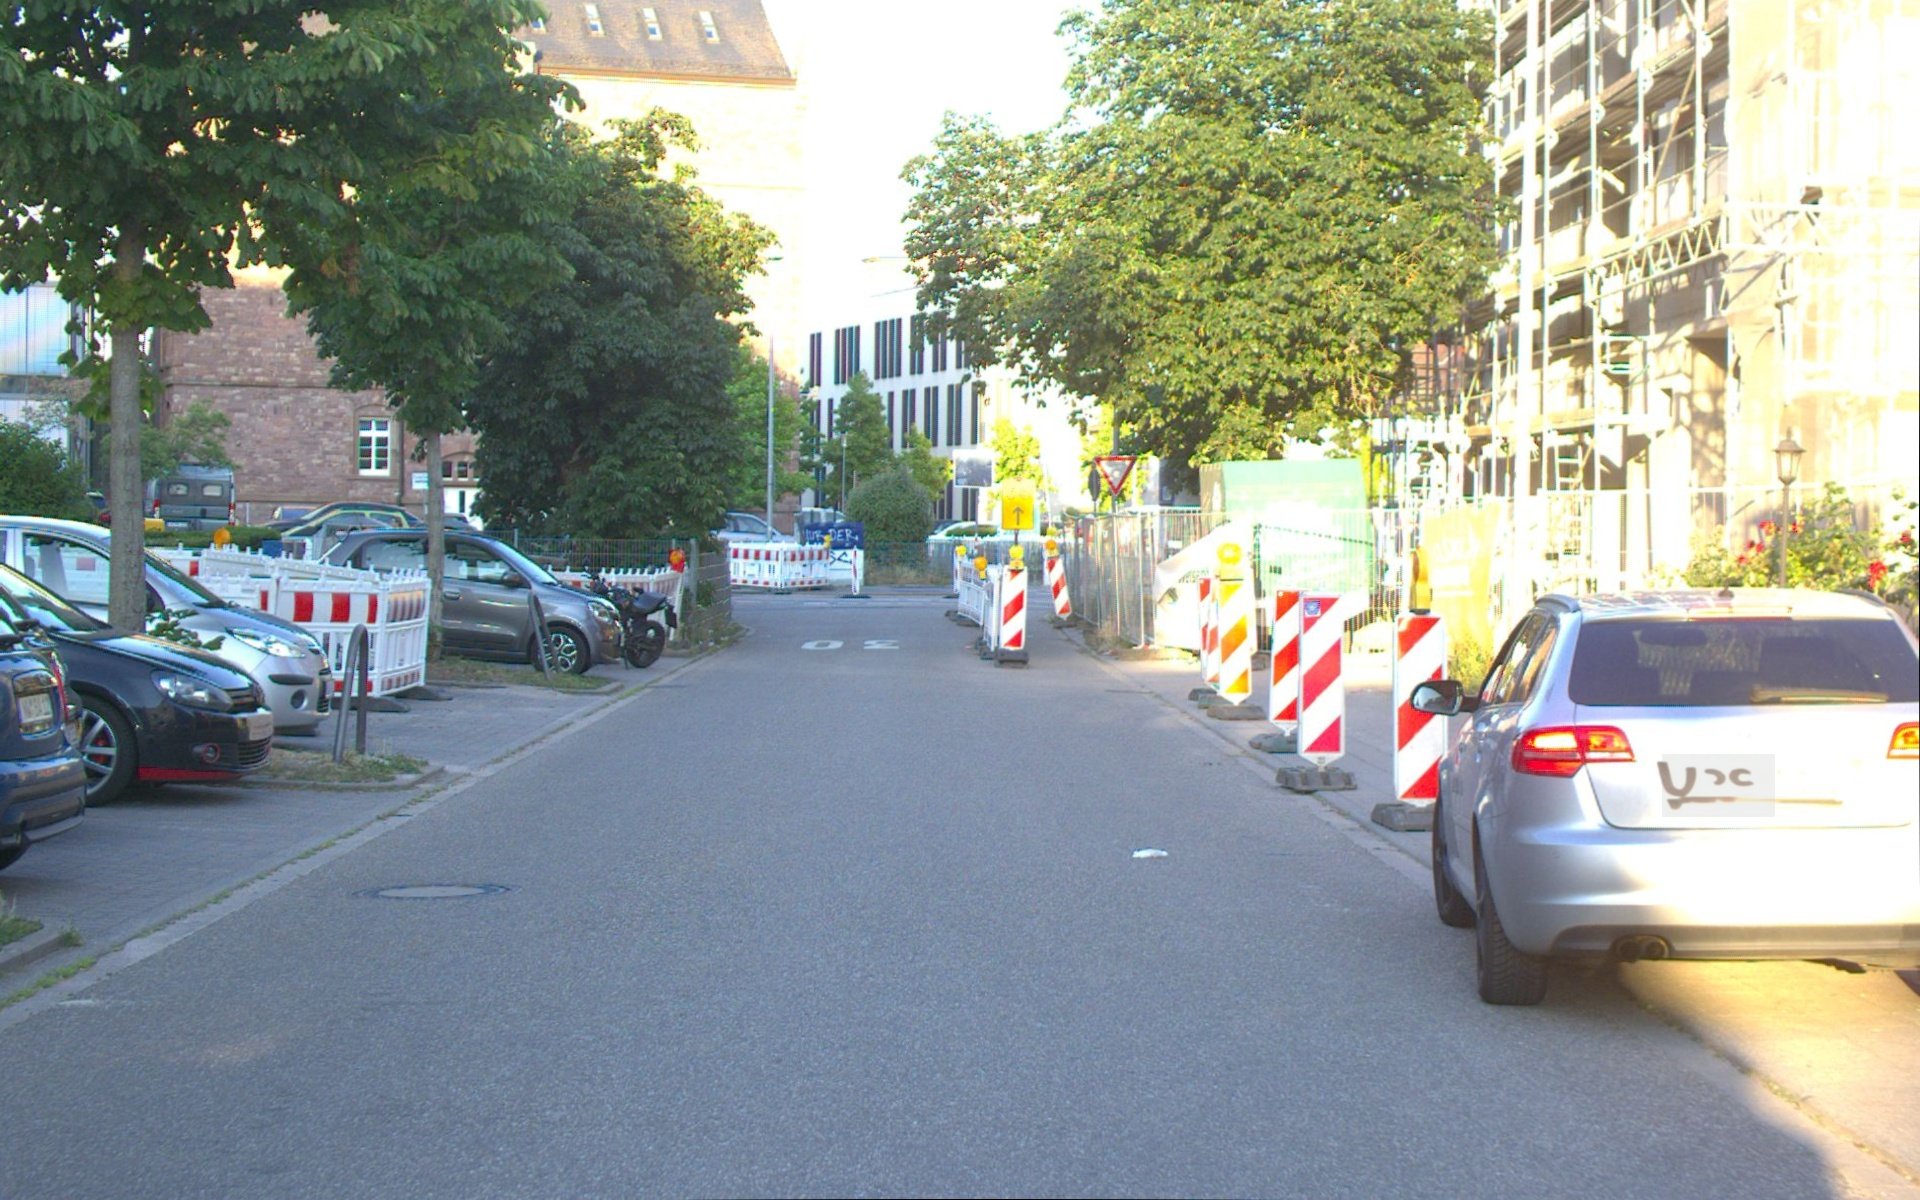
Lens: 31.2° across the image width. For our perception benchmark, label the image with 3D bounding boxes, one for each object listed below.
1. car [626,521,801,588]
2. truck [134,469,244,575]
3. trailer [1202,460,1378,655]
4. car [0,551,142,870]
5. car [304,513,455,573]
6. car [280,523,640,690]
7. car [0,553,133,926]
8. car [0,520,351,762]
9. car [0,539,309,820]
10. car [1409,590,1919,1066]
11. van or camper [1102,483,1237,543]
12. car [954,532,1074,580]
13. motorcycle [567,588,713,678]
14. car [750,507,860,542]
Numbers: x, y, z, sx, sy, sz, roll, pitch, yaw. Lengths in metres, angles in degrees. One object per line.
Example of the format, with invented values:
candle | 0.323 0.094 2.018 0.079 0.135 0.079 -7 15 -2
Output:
car | -6.482 -1.187 90.300 4.268 1.703 1.703 0 1 -19
truck | -19.761 -2.015 87.969 2.333 2.608 4.975 1 1 -17
trailer | 4.490 -0.607 47.331 1.993 2.531 4.186 1 1 0
car | -6.112 0.452 16.942 3.677 1.479 1.728 2 0 2
car | -14.864 -1.465 87.947 3.630 1.498 1.638 0 1 -17
car | -5.442 0.059 37.729 3.623 1.551 1.693 4 1 -1
car | -5.501 0.473 14.214 3.677 1.440 1.728 2 0 2
car | -6.139 0.253 24.048 3.474 1.561 1.728 2 0 -3
car | -5.914 0.386 19.679 3.978 1.484 1.728 2 0 2
car | 2.672 0.709 12.816 1.776 1.392 4.107 1 1 5
van or camper | 8.131 -3.355 133.443 4.961 2.233 1.687 1 1 -22
car | 1.840 -1.491 117.669 3.739 1.597 1.687 0 1 -22
motorcycle | -3.821 0.396 41.239 0.538 1.017 2.208 4 1 29
car | -6.144 -2.997 136.400 3.986 1.308 1.878 0 1 -19
